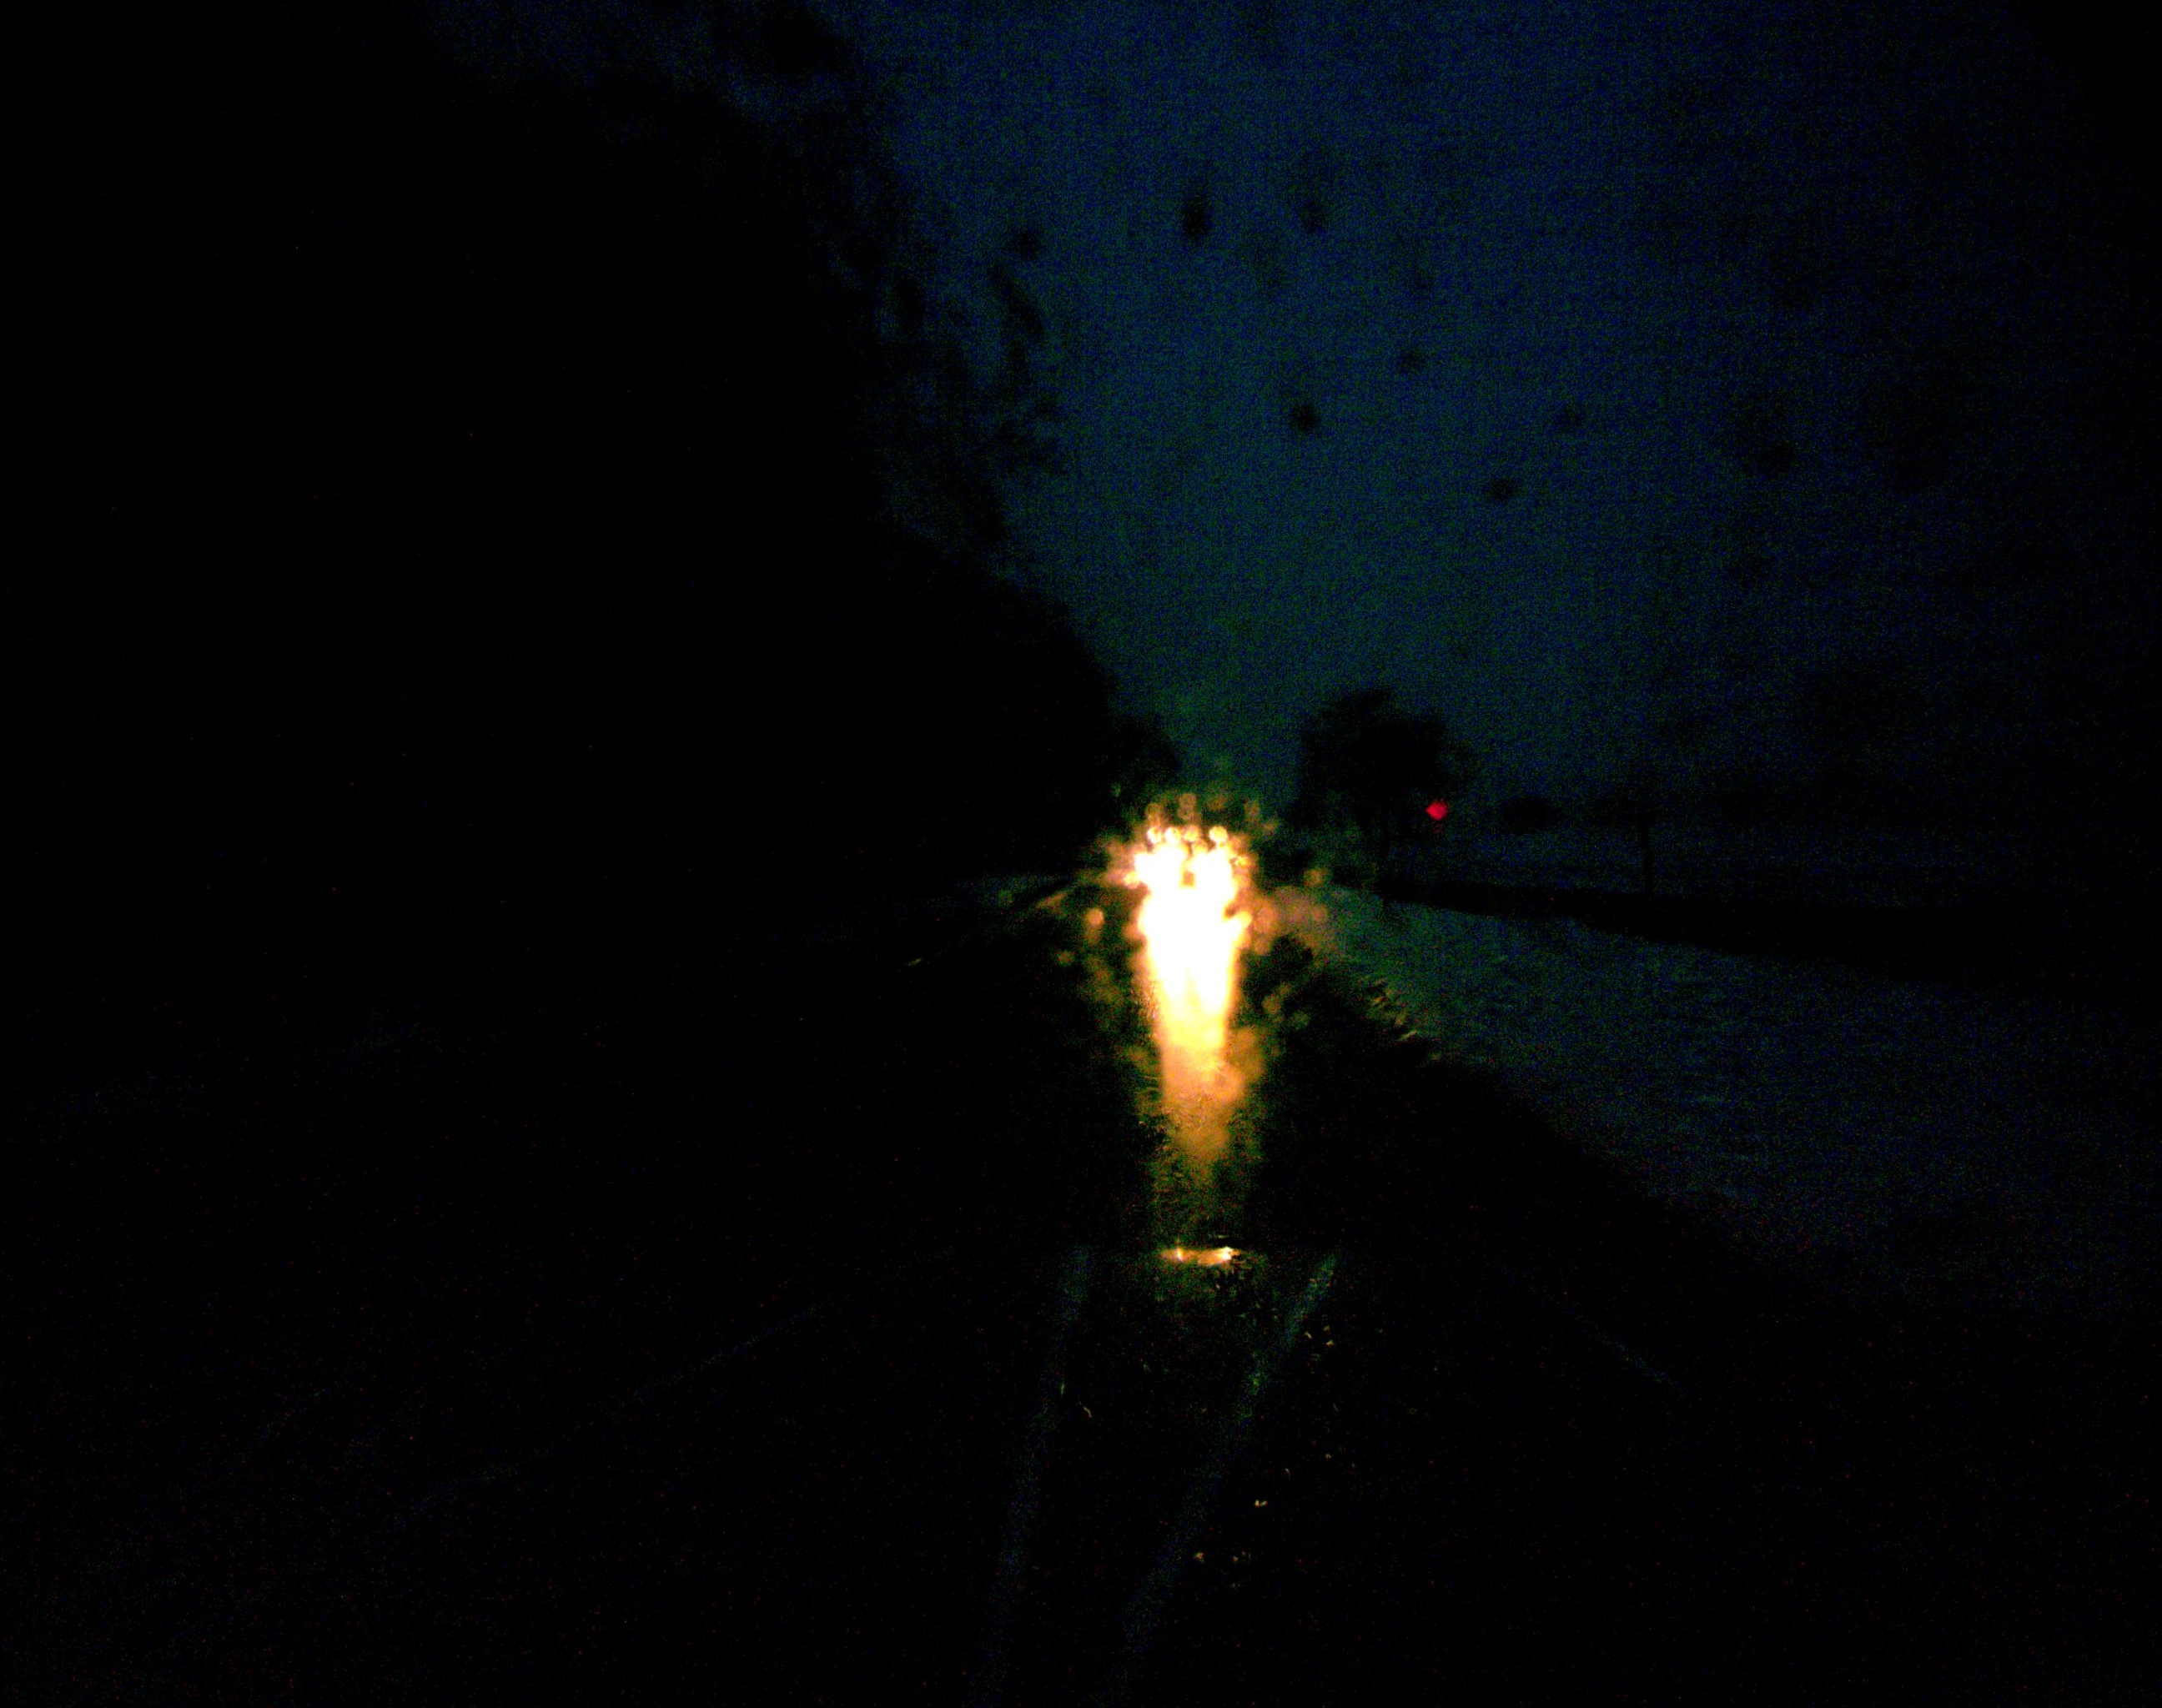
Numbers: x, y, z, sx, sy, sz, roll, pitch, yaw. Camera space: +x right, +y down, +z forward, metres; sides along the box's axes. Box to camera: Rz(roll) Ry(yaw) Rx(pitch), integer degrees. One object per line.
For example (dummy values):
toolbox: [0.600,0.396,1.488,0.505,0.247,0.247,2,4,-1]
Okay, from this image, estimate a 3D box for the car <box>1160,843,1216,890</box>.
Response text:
car: [3.644,0.389,26.148,1.724,1.426,3.678,-2,1,7]

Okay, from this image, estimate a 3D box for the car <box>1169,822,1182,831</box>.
car: [19.510,-5.668,157.699,1.999,1.797,3.998,-2,2,-2]

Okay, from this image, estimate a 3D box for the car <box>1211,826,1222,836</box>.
car: [25.435,-4.283,142.934,1.997,1.797,4.001,-2,2,9]
